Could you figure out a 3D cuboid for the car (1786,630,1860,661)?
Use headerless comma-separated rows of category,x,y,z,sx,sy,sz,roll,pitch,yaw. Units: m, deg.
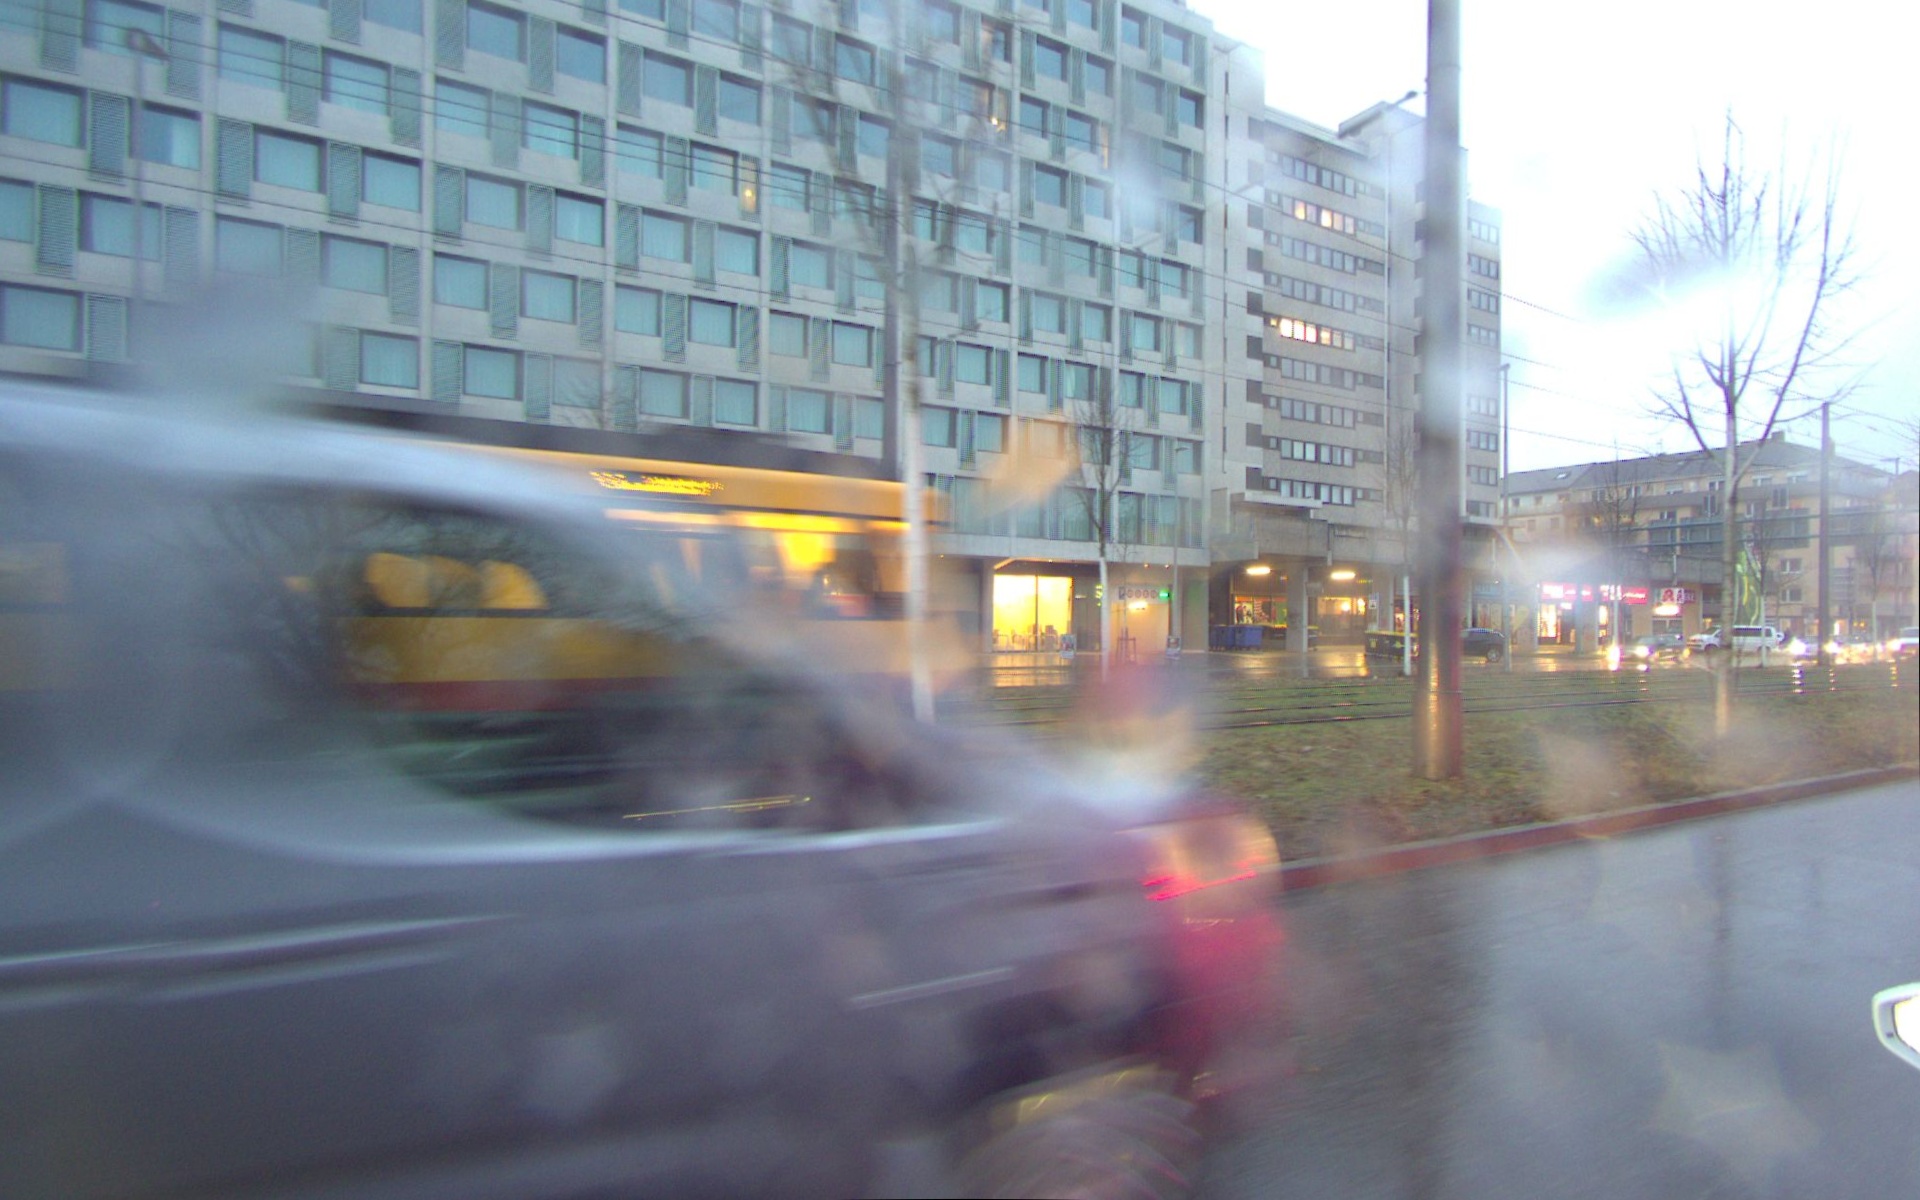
car,42.692,2.238,49.667,3.668,1.450,1.884,1,-1,-34

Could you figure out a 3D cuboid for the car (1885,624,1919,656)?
car,55.687,2.312,58.205,5.063,1.742,1.885,1,-1,-33

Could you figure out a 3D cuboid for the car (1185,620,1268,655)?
car,14.239,1.979,53.848,1.709,1.718,4.336,1,-1,-32

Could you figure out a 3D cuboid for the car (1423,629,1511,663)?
car,26.193,2.352,52.008,3.925,1.405,1.935,3,1,26

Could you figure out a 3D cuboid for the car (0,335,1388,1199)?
car,-1.316,0.581,2.023,4.488,1.759,1.783,2,0,-33

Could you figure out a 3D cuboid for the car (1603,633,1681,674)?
car,33.613,2.591,49.484,3.879,1.910,1.714,1,-1,-30

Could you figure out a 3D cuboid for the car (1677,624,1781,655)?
car,50.638,2.604,66.258,5.059,1.937,2.001,0,-1,16

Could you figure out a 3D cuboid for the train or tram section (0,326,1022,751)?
train or tram section,-6.028,-0.434,11.107,14.092,3.533,2.944,1,-1,-29
